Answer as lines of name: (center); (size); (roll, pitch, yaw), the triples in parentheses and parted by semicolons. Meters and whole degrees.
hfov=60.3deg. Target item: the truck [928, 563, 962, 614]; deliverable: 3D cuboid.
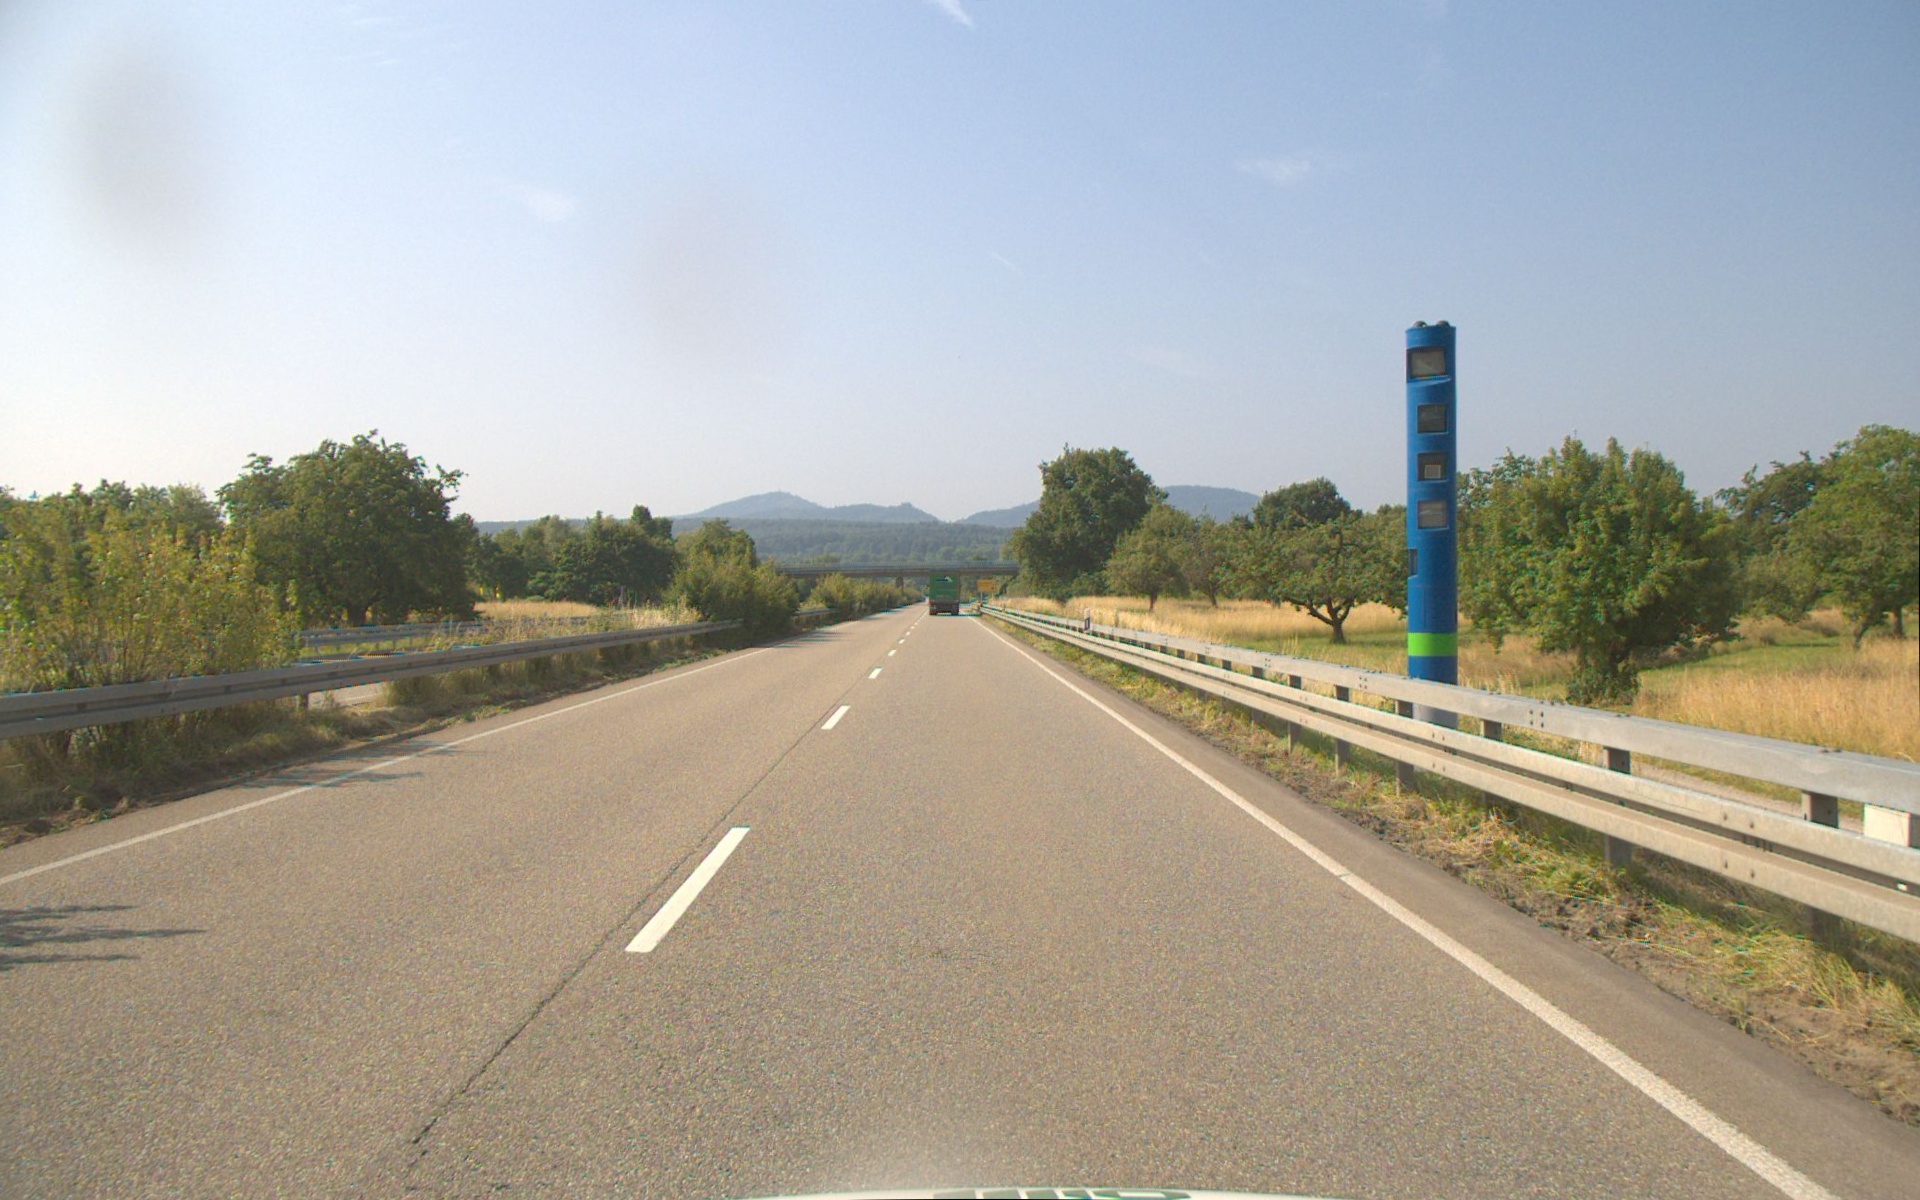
truck: (-1.256, -1.049, 138.784); (2.666, 4.034, 10.416); (1, 1, 0)
